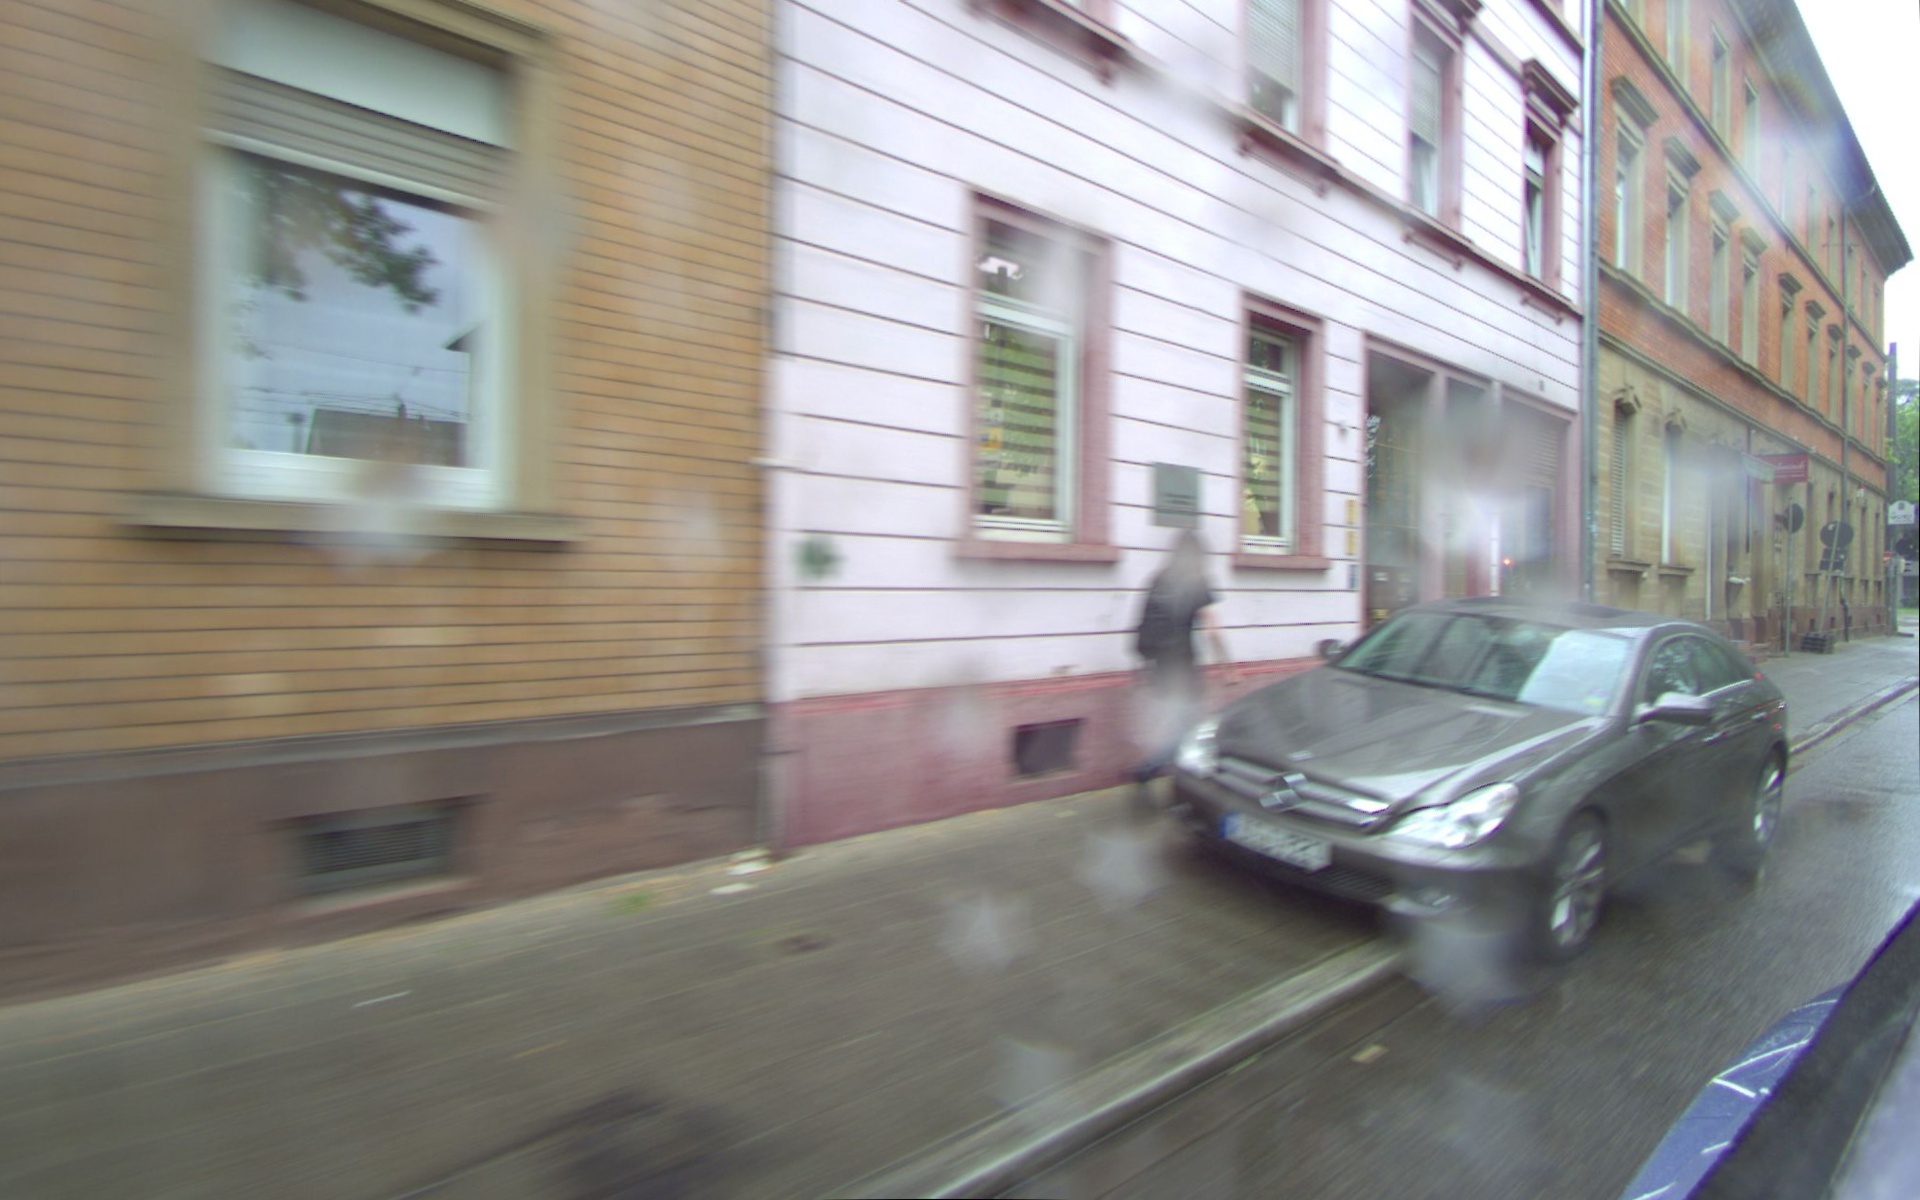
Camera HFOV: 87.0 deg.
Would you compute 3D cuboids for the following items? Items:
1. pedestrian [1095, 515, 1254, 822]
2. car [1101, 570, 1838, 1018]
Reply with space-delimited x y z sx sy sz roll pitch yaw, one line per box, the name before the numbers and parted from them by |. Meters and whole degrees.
pedestrian | 1.272 0.362 6.033 0.593 1.705 0.640 0 3 -42
car | 3.060 0.627 5.575 4.612 1.438 1.819 0 4 -39
